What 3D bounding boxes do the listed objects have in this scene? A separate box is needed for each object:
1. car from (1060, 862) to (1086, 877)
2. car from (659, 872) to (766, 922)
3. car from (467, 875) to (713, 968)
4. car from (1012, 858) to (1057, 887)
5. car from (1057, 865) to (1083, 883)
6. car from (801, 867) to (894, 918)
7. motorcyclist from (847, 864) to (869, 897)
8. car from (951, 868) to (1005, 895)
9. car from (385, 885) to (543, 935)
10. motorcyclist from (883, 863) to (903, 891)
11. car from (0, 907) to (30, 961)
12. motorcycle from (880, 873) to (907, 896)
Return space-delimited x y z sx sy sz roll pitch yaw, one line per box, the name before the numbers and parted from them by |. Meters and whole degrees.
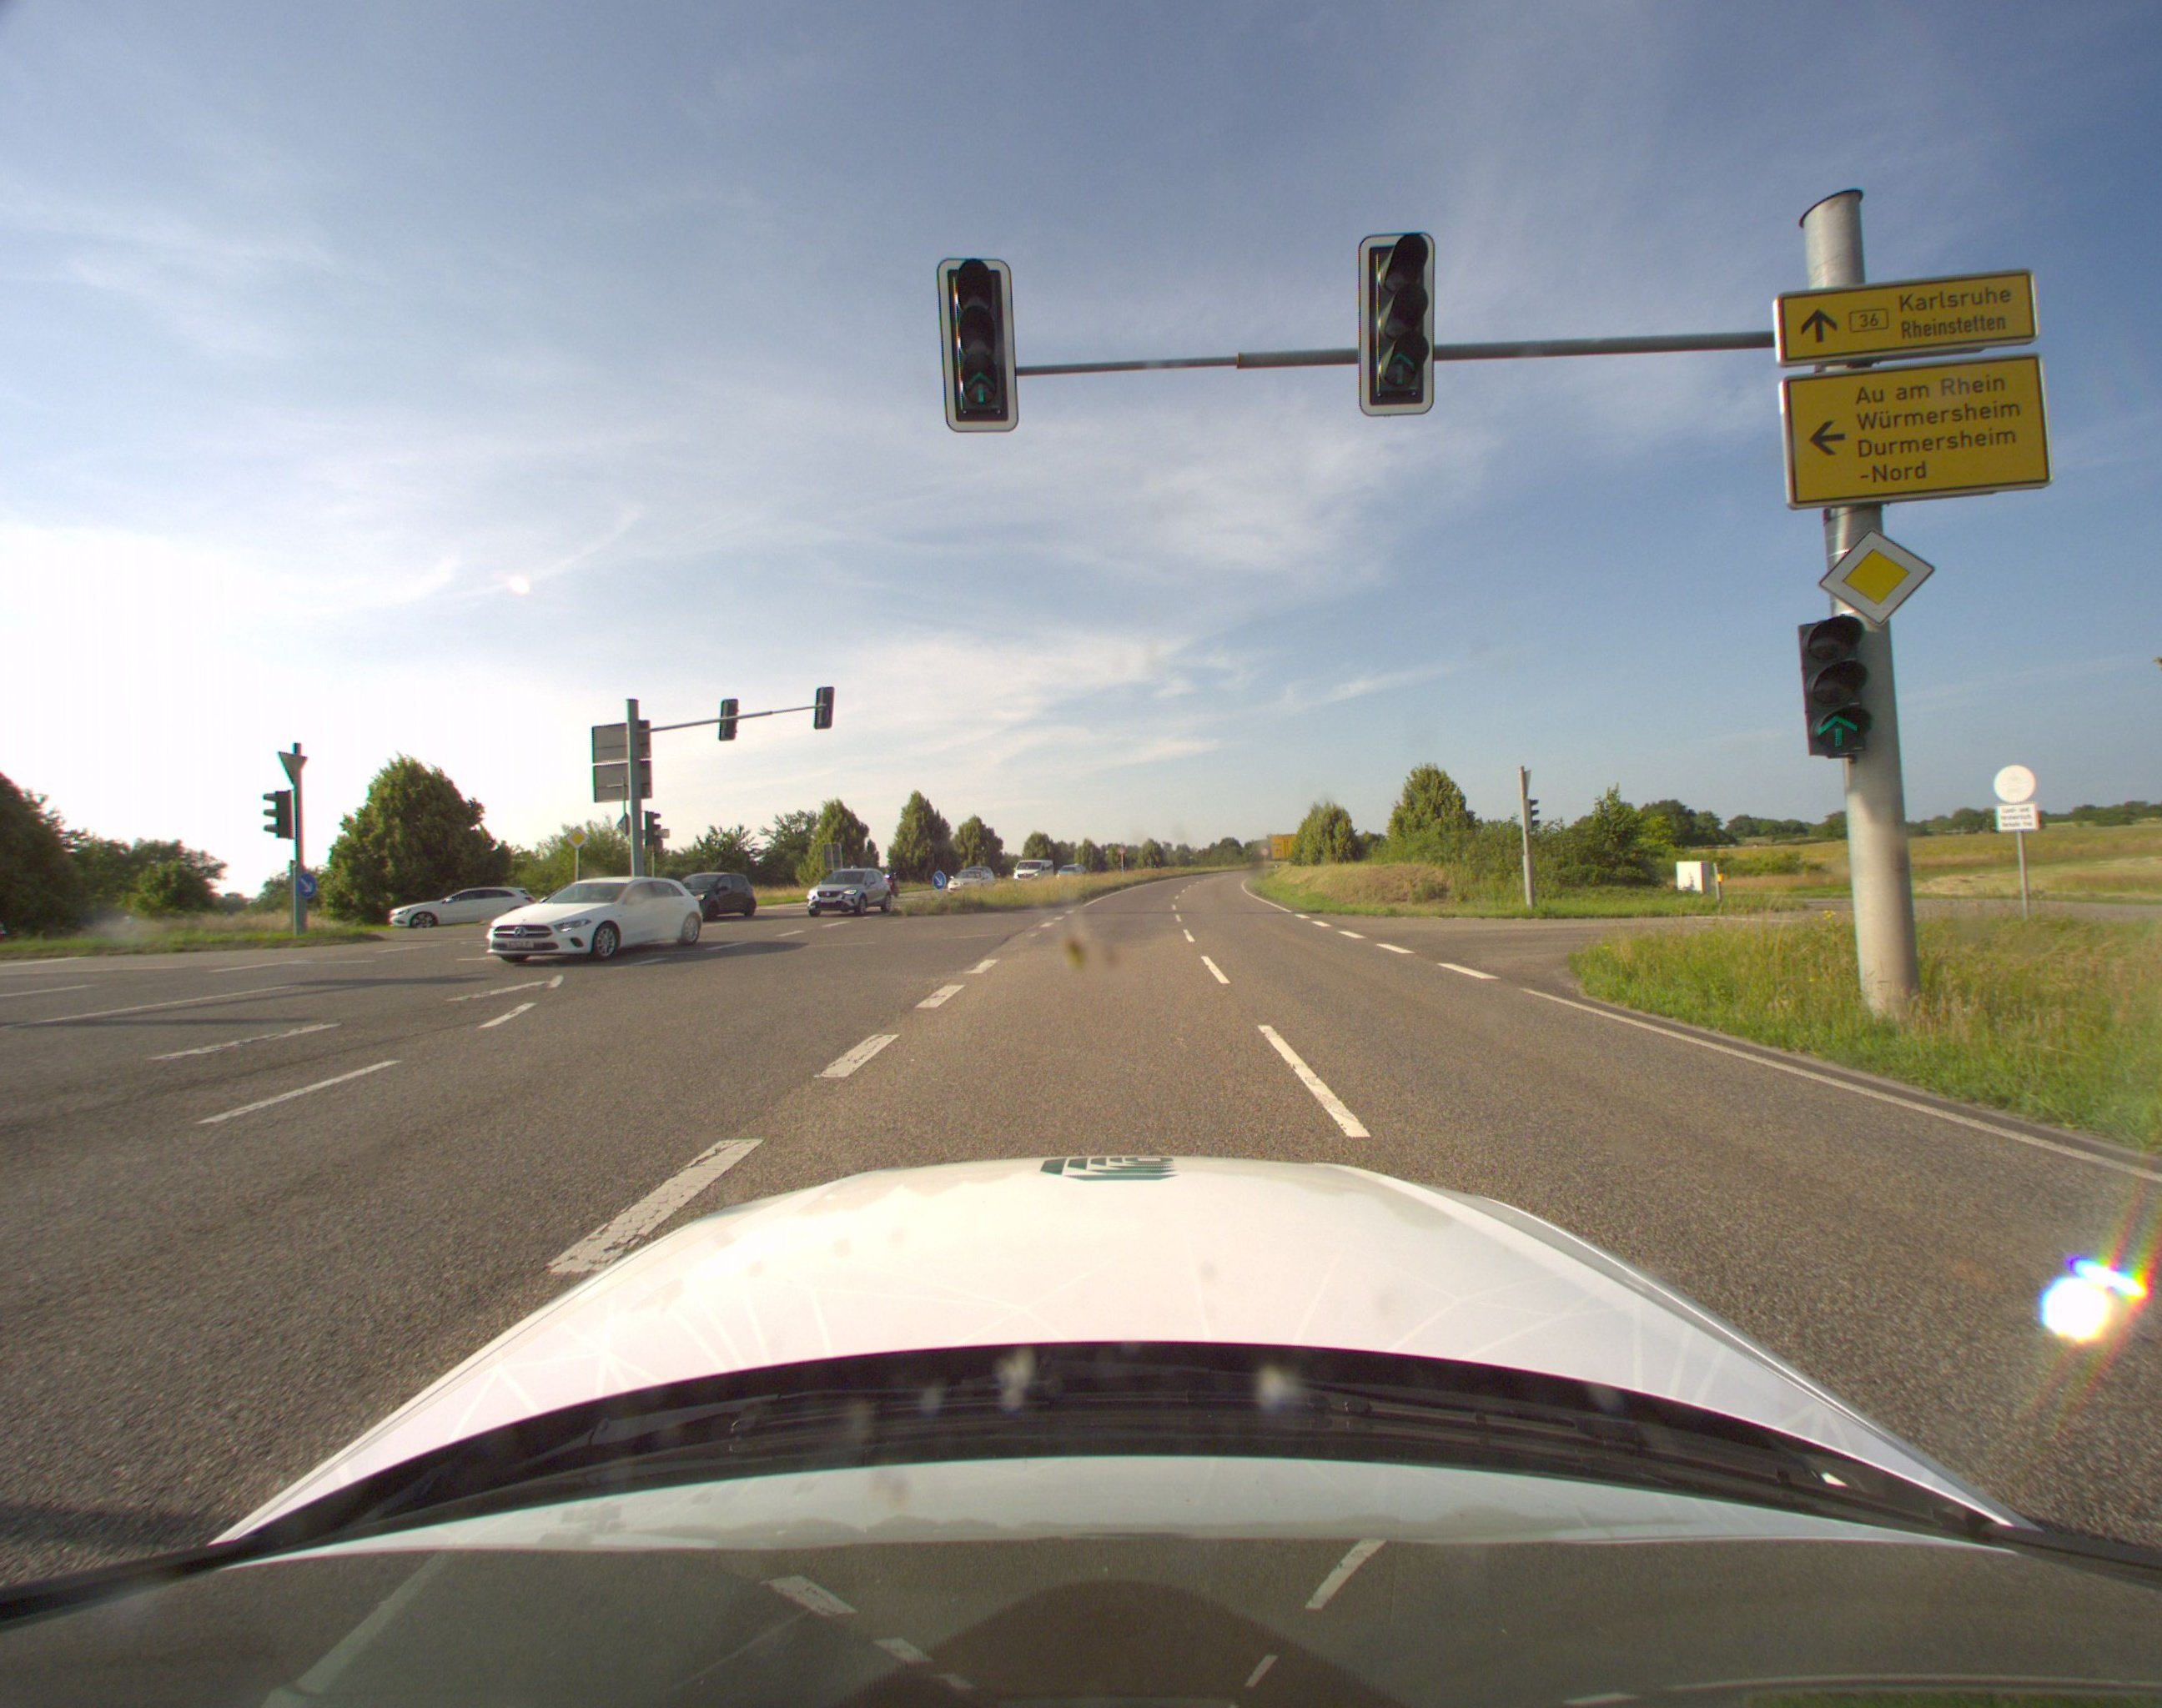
car | -0.852 1.705 88.696 1.900 1.565 4.624 -2 -1 11
car | -11.775 1.333 26.278 1.679 1.412 3.524 -1 -1 3
car | -8.982 1.163 15.426 1.722 1.413 4.400 -1 -1 4
car | -3.258 1.317 58.492 1.982 1.904 5.802 -1 -1 8
car | -0.909 1.723 69.816 1.669 1.443 3.760 -1 -1 8
car | -7.700 1.232 27.245 1.678 1.523 4.096 -1 -1 4
motorcyclist | -10.241 1.207 37.414 0.694 1.503 0.897 -2 -1 4
car | -5.451 1.434 43.493 1.685 1.353 4.463 -2 -1 8
car | -22.574 1.983 29.877 4.471 1.535 1.929 -1 -1 -42
motorcyclist | -9.966 1.222 43.173 0.700 1.465 1.022 -2 -1 8
car | -34.115 2.441 23.595 4.124 1.587 1.917 -1 -1 -15
motorcycle | -9.938 1.592 43.265 0.703 1.159 2.028 -2 -1 8
